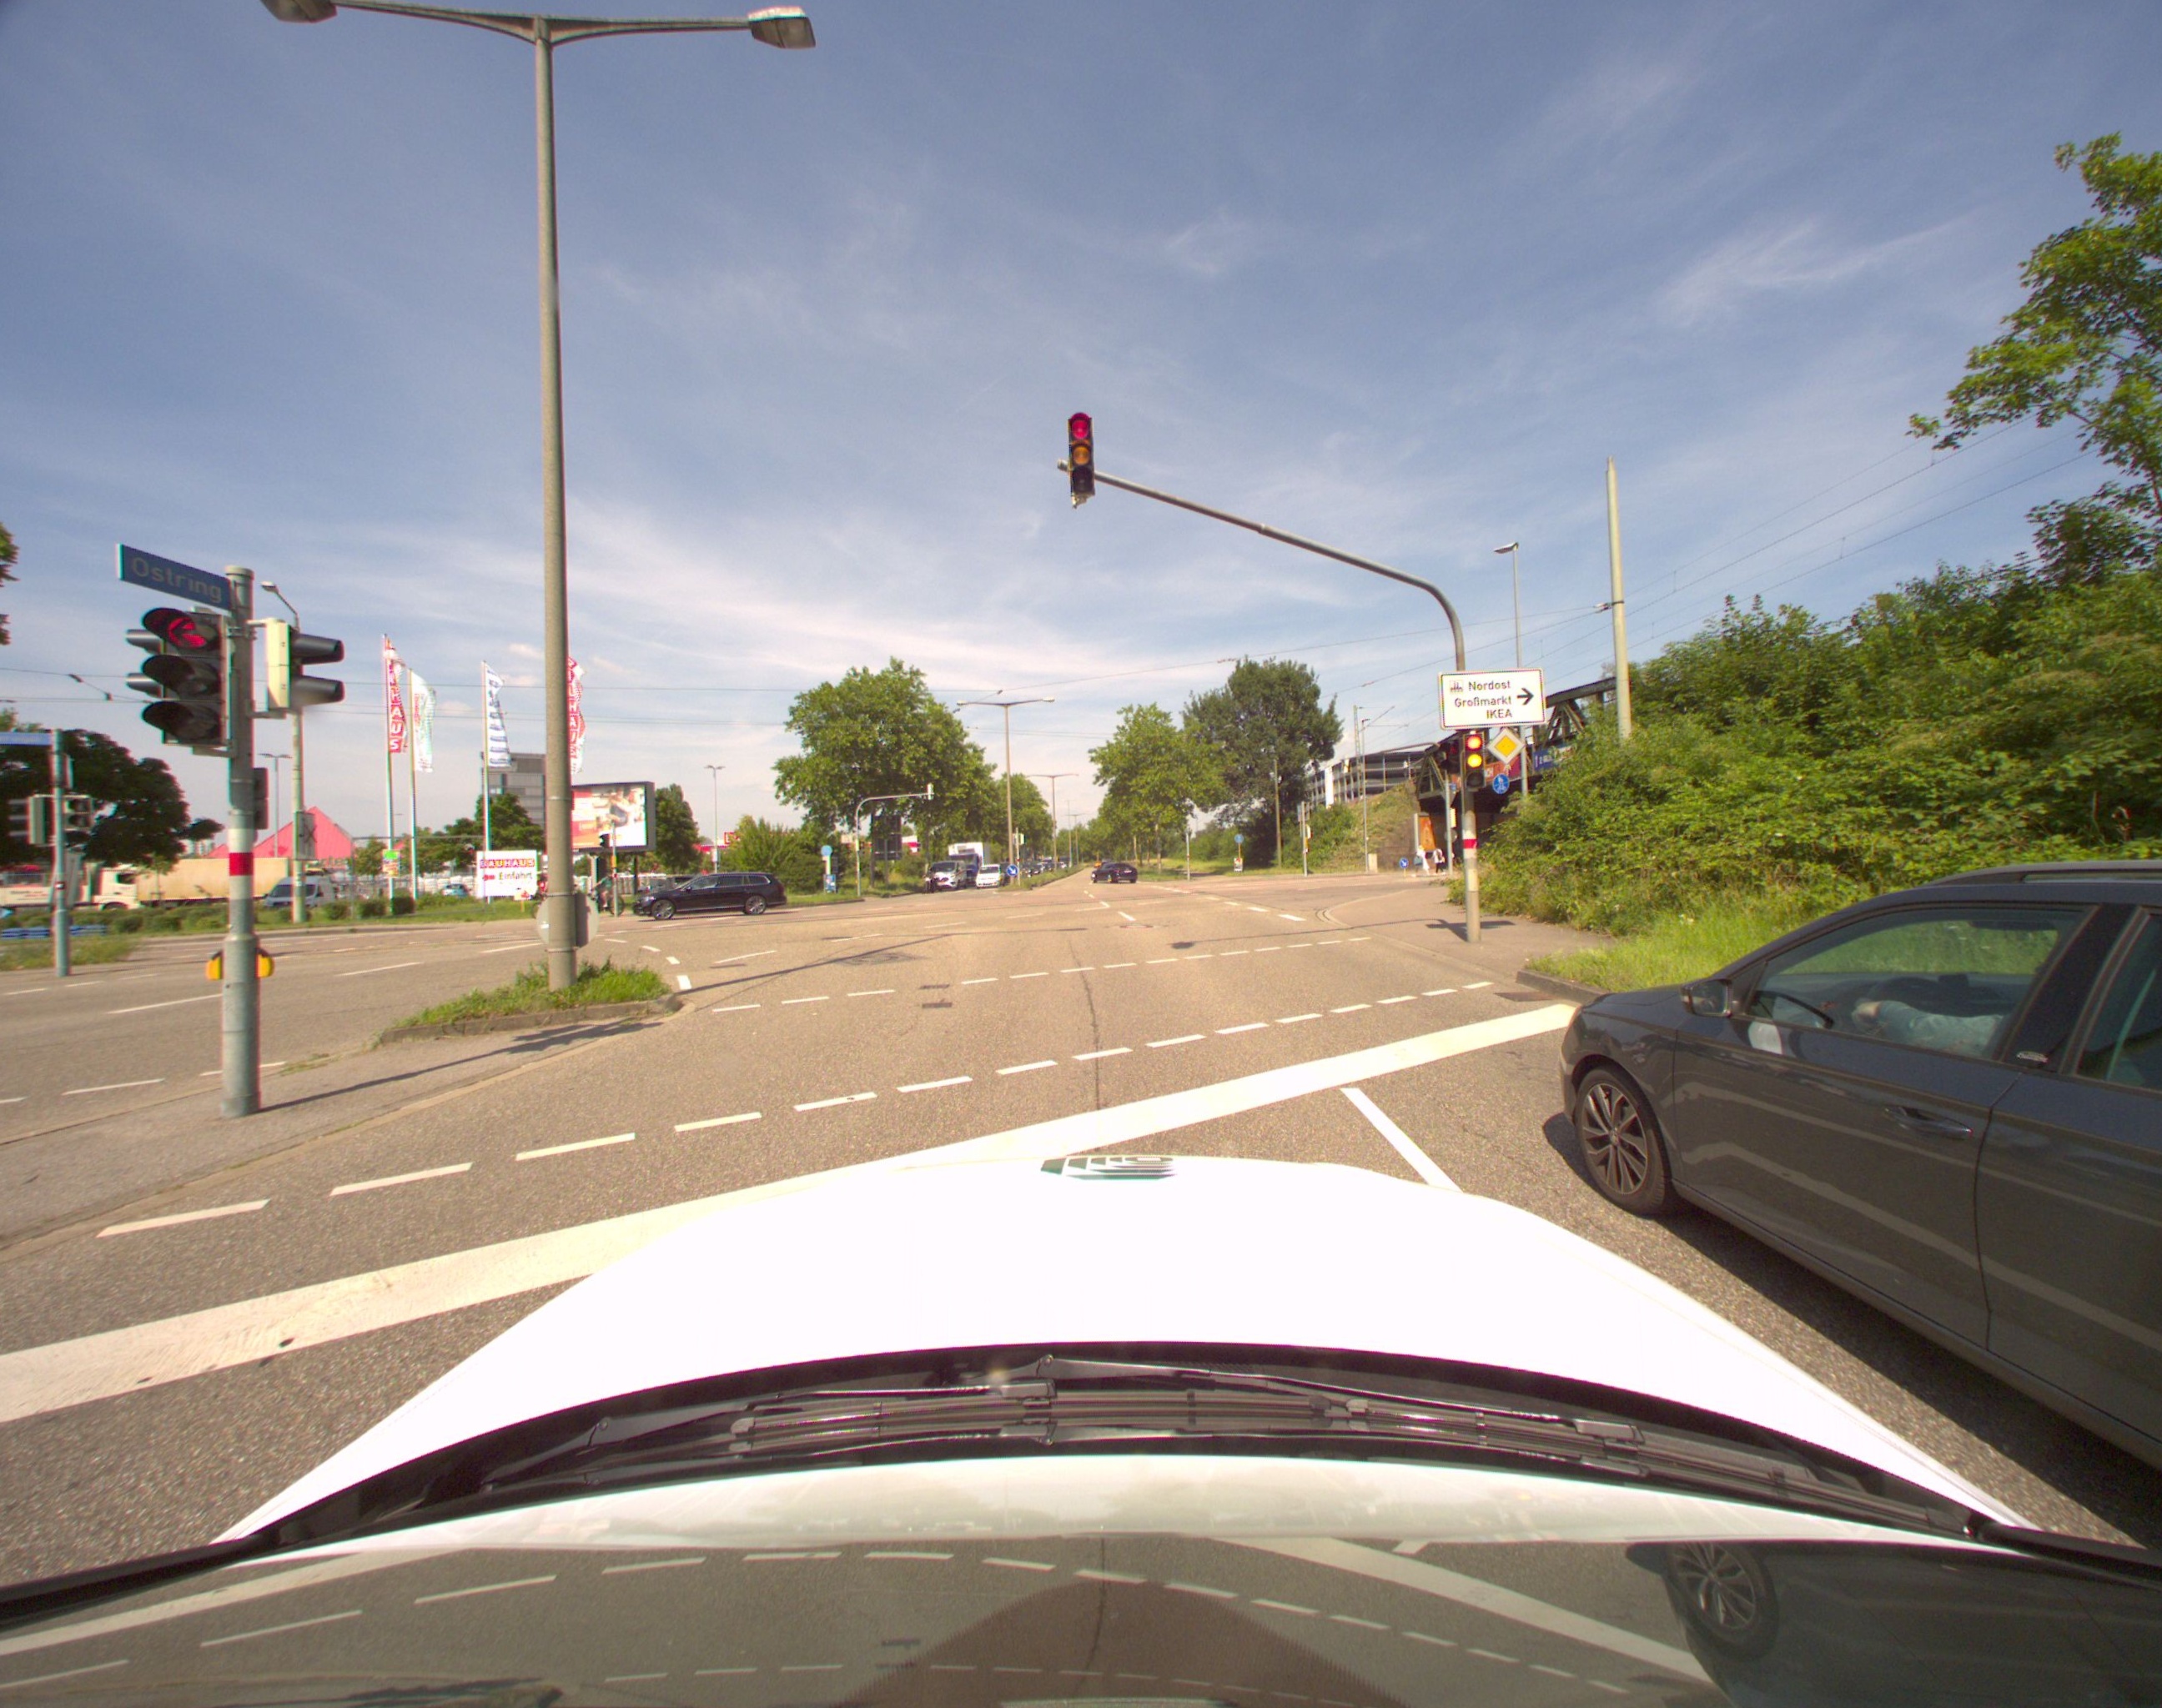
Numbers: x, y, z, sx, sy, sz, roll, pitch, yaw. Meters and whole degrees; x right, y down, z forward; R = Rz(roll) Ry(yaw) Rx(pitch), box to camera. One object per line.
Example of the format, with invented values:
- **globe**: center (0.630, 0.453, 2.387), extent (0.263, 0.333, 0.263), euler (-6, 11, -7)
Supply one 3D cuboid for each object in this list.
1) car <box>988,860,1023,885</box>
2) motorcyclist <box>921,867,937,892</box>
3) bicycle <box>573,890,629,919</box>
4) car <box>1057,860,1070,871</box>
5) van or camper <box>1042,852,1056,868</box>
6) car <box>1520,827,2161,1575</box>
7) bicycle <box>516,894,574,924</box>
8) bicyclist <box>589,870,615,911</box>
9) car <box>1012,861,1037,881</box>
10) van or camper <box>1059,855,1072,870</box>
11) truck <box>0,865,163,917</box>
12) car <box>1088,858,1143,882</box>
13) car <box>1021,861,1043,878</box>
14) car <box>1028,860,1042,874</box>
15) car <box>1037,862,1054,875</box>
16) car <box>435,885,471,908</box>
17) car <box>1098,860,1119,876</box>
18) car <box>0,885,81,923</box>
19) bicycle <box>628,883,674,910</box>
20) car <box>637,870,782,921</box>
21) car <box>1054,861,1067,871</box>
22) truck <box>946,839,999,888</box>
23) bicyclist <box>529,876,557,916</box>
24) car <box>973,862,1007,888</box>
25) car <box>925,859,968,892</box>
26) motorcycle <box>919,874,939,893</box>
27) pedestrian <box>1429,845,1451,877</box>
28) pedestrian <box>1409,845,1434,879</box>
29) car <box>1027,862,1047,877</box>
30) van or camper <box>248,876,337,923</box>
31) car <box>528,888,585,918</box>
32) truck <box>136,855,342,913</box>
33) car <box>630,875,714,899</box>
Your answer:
- **car**: center (-5.404, 1.313, 58.716), extent (1.813, 1.646, 4.695), euler (-3, -1, 2)
- **motorcyclist**: center (-9.062, 1.502, 48.608), extent (0.740, 1.470, 0.988), euler (-2, 0, 1)
- **bicycle**: center (-17.855, 1.856, 30.329), extent (0.412, 0.937, 2.007), euler (-2, -1, 18)
- **car**: center (-2.832, 1.859, 132.058), extent (1.682, 1.510, 3.816), euler (-3, 0, 2)
- **van or camper**: center (-5.867, 1.086, 147.784), extent (2.007, 2.587, 5.519), euler (-3, 0, 2)
- **car**: center (2.953, 0.666, 2.070), extent (1.667, 1.453, 4.039), euler (-1, 0, 3)
- **bicycle**: center (-19.176, 1.953, 29.154), extent (0.430, 0.937, 1.761), euler (-2, -1, 24)
- **bicyclist**: center (-17.853, 1.367, 30.382), extent (0.523, 1.491, 0.612), euler (-2, -1, 17)
- **car**: center (-4.948, 1.464, 72.240), extent (1.682, 1.586, 4.242), euler (-3, 0, 2)
- **van or camper**: center (-2.712, 1.475, 140.990), extent (1.932, 2.368, 5.397), euler (-3, -1, 0)
- **truck**: center (-64.861, 2.328, 50.741), extent (9.655, 2.892, 2.895), euler (-2, -1, -35)
- **car**: center (2.254, 1.087, 54.476), extent (1.916, 1.463, 4.587), euler (-2, 0, -22)
- **car**: center (-4.764, 1.539, 79.514), extent (1.682, 1.473, 4.220), euler (-4, 0, 2)
- **car**: center (-6.743, 1.918, 119.261), extent (1.682, 1.858, 4.038), euler (-3, -1, 2)
- **car**: center (-4.227, 1.711, 97.845), extent (1.778, 1.489, 4.211), euler (-3, 0, 1)
- **car**: center (-45.836, 3.072, 59.503), extent (1.829, 1.572, 4.234), euler (-2, -1, -34)
- **car**: center (2.678, 1.354, 79.285), extent (1.828, 1.391, 4.264), euler (-2, 0, 0)
- **car**: center (-77.024, 3.636, 59.869), extent (2.396, 2.529, 6.066), euler (-2, -1, -31)
- **bicycle**: center (-18.776, 1.840, 35.589), extent (0.590, 1.037, 1.903), euler (-2, -1, 16)
- **car**: center (-12.407, 1.332, 27.258), extent (4.236, 1.443, 1.772), euler (-2, 0, -31)
- **car**: center (-3.157, 1.847, 125.467), extent (1.777, 1.459, 4.473), euler (-3, 0, 2)
- **truck**: center (-8.404, 0.687, 63.935), extent (2.793, 3.471, 6.693), euler (-4, 0, 2)
- **bicyclist**: center (-19.245, 1.493, 29.145), extent (0.523, 1.414, 0.613), euler (-2, -1, 24)
- **car**: center (-5.847, 1.322, 52.837), extent (1.587, 1.477, 3.731), euler (-3, 0, 2)
- **car**: center (-8.764, 1.379, 53.609), extent (1.970, 1.999, 5.030), euler (-2, 0, -1)
- **motorcycle**: center (-9.025, 1.746, 48.511), extent (0.685, 0.991, 2.218), euler (-2, 0, 2)
- **pedestrian**: center (17.903, 0.345, 40.665), extent (0.726, 1.579, 0.778), euler (-2, -1, 1)
- **pedestrian**: center (16.920, 0.395, 40.453), extent (0.865, 1.611, 0.778), euler (-2, -1, 1)
- **car**: center (-4.561, 1.609, 85.149), extent (1.682, 1.472, 3.816), euler (-3, 0, 2)
- **van or camper**: center (-41.032, 2.302, 42.536), extent (2.204, 2.210, 5.462), euler (-2, -1, -32)
- **car**: center (-31.678, 2.914, 49.121), extent (2.212, 1.572, 4.522), euler (-1, -1, -41)
- **truck**: center (-55.061, 1.881, 53.714), extent (8.964, 3.311, 3.125), euler (-2, -1, -36)
- **car**: center (-27.768, 2.225, 55.472), extent (4.556, 1.414, 2.196), euler (-2, -1, -6)
